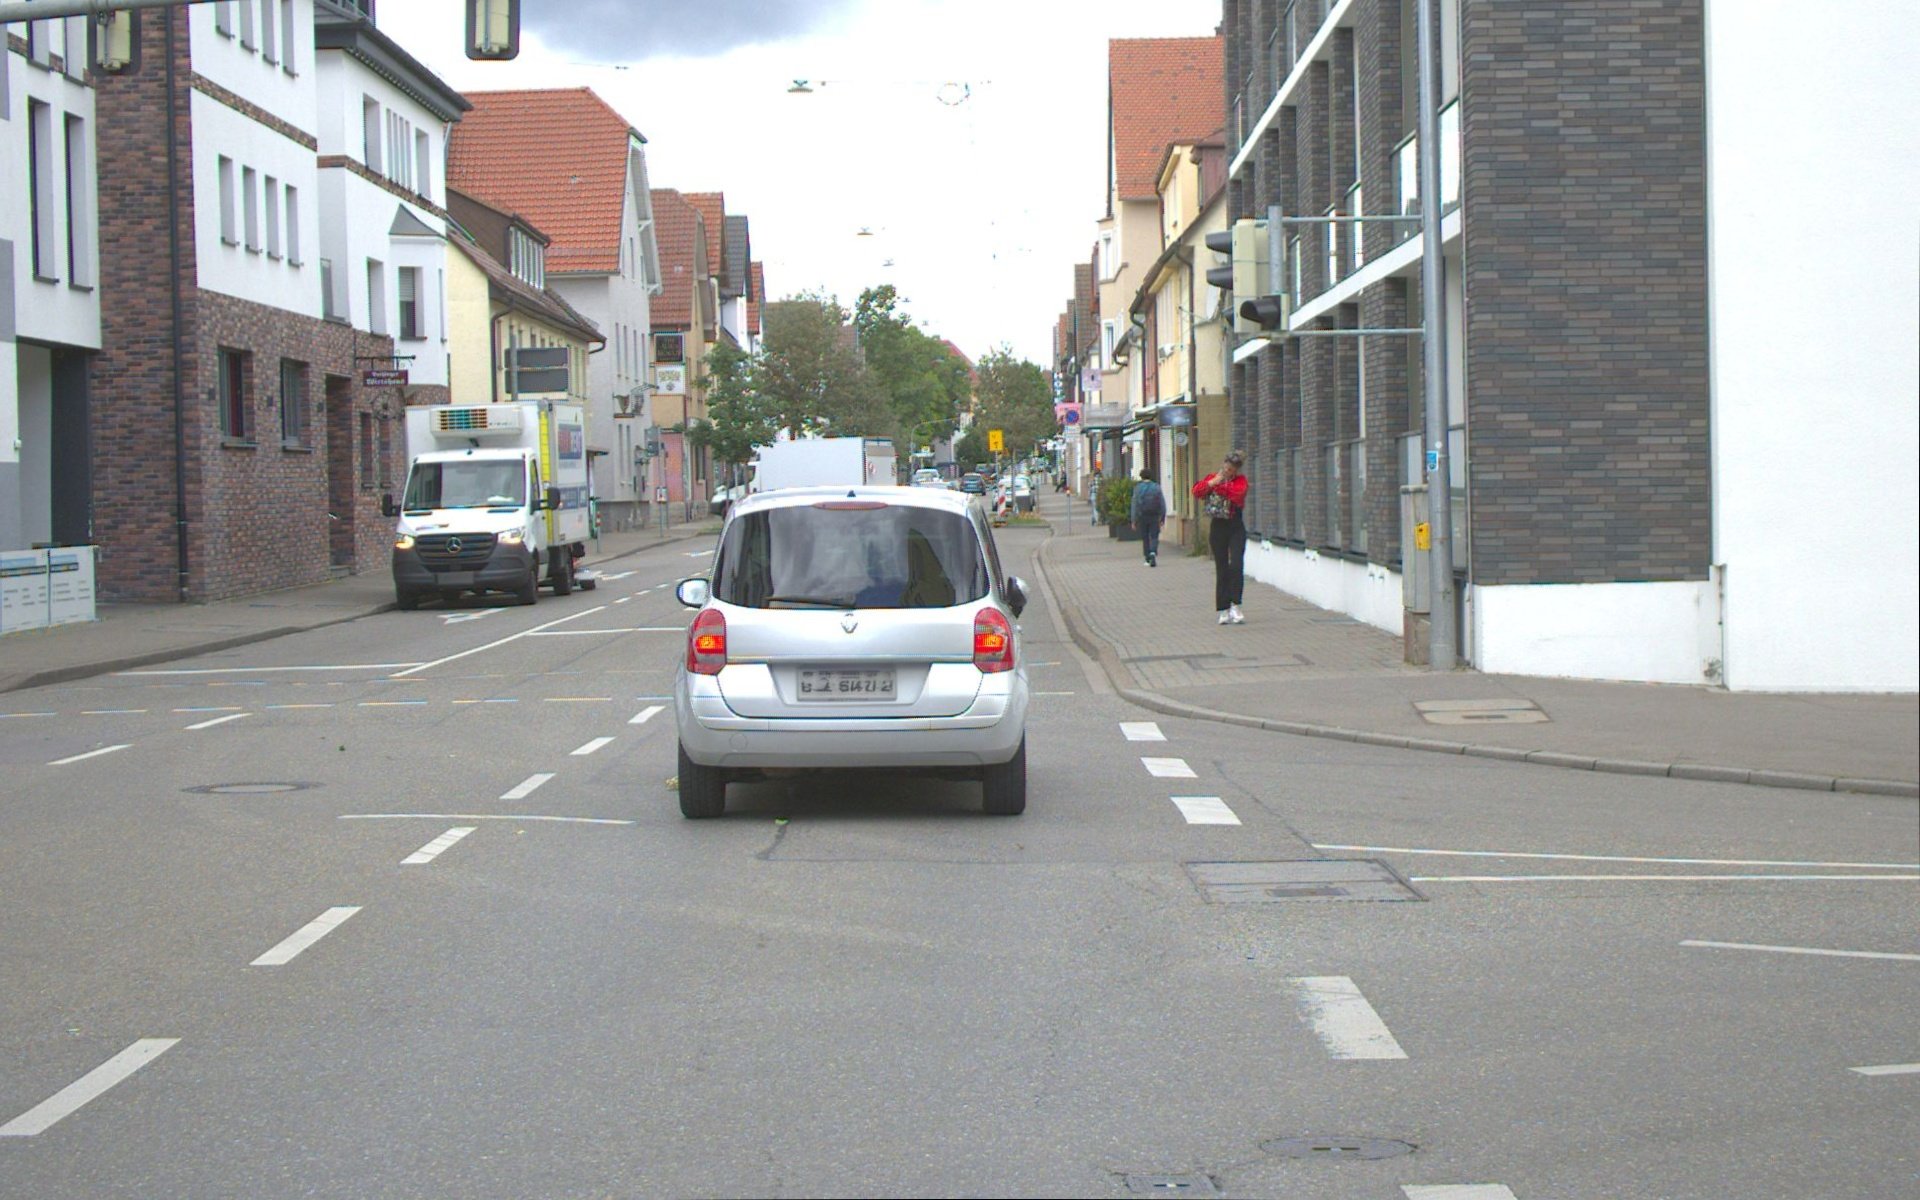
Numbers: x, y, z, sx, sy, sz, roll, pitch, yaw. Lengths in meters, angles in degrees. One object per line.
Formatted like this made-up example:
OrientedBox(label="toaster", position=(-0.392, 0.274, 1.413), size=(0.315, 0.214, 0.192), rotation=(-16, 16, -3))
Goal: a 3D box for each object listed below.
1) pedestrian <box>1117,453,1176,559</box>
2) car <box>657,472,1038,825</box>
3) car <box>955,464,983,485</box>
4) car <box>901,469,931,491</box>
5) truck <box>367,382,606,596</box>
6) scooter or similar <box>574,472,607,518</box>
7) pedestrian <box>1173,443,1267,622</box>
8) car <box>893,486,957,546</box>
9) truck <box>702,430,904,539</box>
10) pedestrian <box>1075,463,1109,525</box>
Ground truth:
OrientedBox(label="pedestrian", position=(3.234, -1.638, 59.723), size=(0.889, 1.780, 0.785), rotation=(-3, 2, 1))
OrientedBox(label="car", position=(-0.517, 0.154, 17.595), size=(1.706, 1.573, 4.001), rotation=(1, 2, 0))
OrientedBox(label="car", position=(0.623, -8.461, 231.252), size=(1.813, 1.349, 4.000), rotation=(-2, 2, 1))
OrientedBox(label="car", position=(-2.771, -7.586, 217.500), size=(1.813, 1.349, 3.857), rotation=(-2, 2, 1))
OrientedBox(label="truck", position=(-7.039, -1.691, 52.184), size=(2.435, 2.943, 8.365), rotation=(-1, 2, 0))
OrientedBox(label="scooter or similar", position=(-10.367, -2.955, 96.586), size=(0.575, 1.264, 2.549), rotation=(-1, 2, 1))
OrientedBox(label="pedestrian", position=(2.671, -0.701, 35.371), size=(0.807, 1.780, 0.861), rotation=(-3, 2, 1))
OrientedBox(label="car", position=(-0.943, -2.317, 94.198), size=(1.706, 1.573, 4.001), rotation=(1, 2, 0))
OrientedBox(label="truck", position=(-5.688, -4.157, 124.088), size=(6.835, 3.844, 2.601), rotation=(0, 2, 26))
OrientedBox(label="pedestrian", position=(3.956, -3.169, 102.881), size=(0.889, 1.780, 0.785), rotation=(-3, 2, 1))
